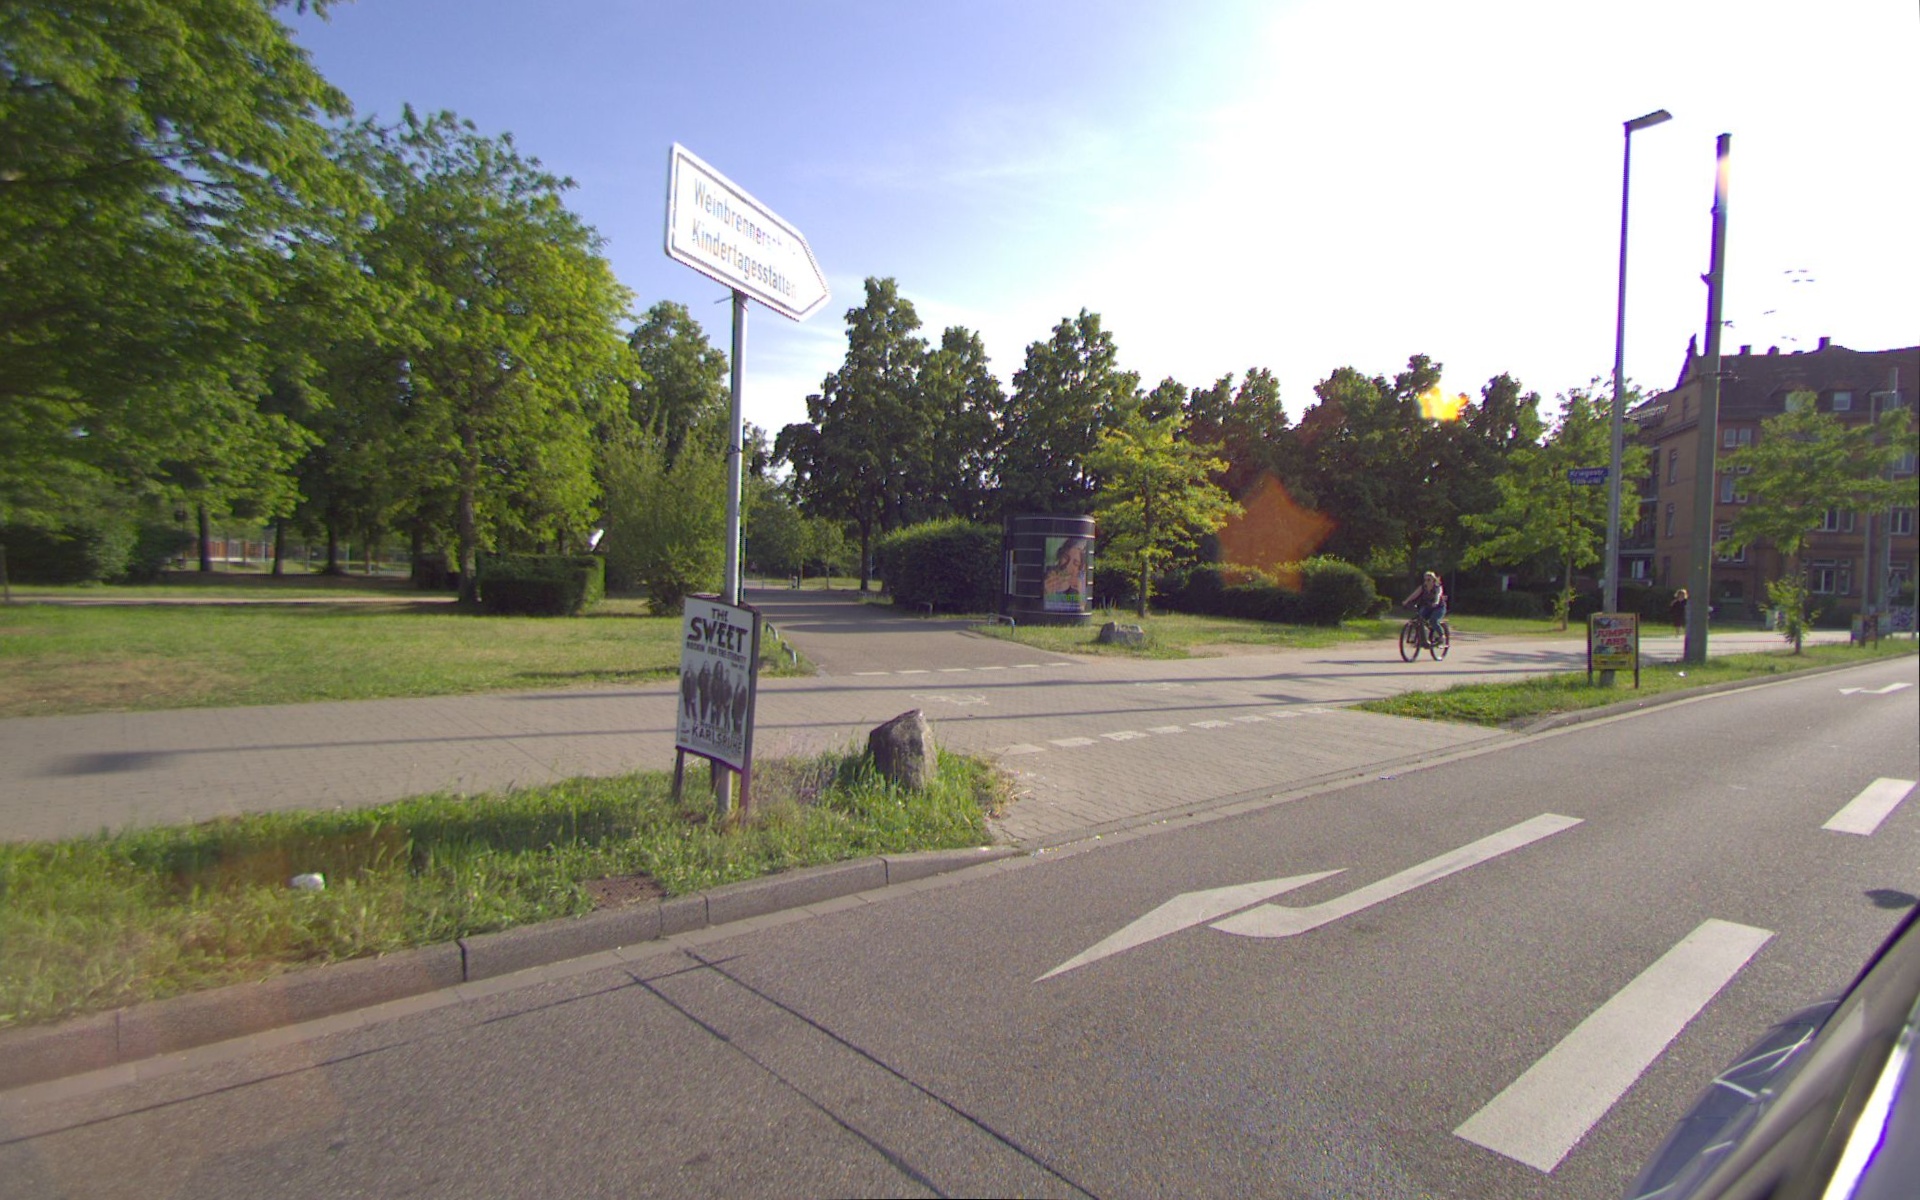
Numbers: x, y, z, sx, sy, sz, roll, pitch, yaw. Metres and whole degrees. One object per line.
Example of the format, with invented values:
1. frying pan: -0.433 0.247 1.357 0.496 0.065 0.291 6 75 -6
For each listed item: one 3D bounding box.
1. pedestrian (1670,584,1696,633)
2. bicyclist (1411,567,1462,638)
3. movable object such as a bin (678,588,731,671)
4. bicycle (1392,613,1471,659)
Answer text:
1. pedestrian: 25.362 0.292 35.491 0.607 1.706 0.621 1 0 -41
2. bicyclist: 8.936 0.036 18.963 0.854 1.278 0.535 1 2 -41
3. movable object such as a bin: -3.012 0.331 11.955 0.447 0.929 0.605 2 1 0
4. bicycle: 8.819 0.656 18.896 2.131 0.766 0.496 0 3 -41
